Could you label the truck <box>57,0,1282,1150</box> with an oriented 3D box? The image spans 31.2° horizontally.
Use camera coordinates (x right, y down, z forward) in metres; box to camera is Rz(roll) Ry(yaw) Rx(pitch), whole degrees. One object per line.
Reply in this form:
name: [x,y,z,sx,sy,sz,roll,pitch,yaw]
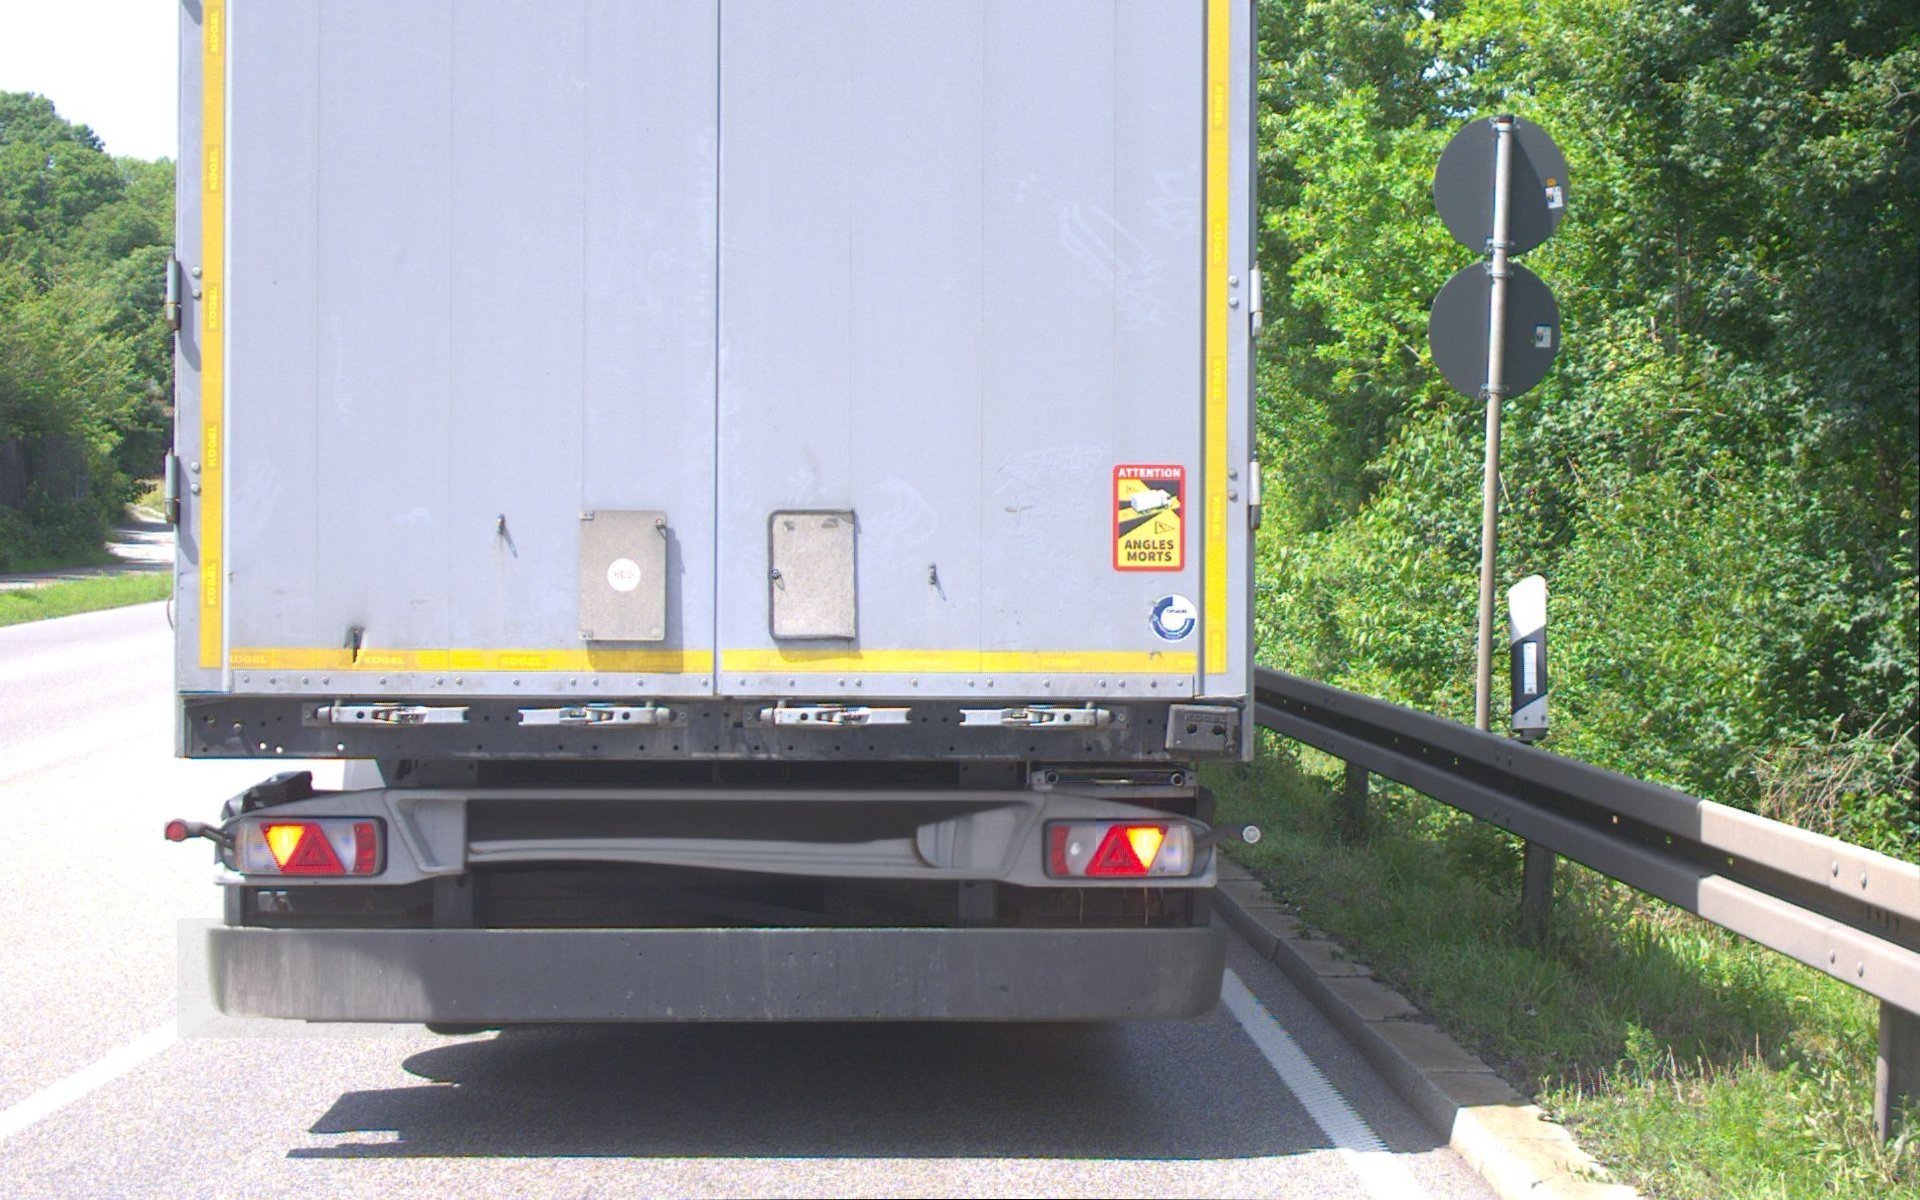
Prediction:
truck: [-0.794,-0.888,13.740,2.757,4.016,11.925,0,1,-1]
